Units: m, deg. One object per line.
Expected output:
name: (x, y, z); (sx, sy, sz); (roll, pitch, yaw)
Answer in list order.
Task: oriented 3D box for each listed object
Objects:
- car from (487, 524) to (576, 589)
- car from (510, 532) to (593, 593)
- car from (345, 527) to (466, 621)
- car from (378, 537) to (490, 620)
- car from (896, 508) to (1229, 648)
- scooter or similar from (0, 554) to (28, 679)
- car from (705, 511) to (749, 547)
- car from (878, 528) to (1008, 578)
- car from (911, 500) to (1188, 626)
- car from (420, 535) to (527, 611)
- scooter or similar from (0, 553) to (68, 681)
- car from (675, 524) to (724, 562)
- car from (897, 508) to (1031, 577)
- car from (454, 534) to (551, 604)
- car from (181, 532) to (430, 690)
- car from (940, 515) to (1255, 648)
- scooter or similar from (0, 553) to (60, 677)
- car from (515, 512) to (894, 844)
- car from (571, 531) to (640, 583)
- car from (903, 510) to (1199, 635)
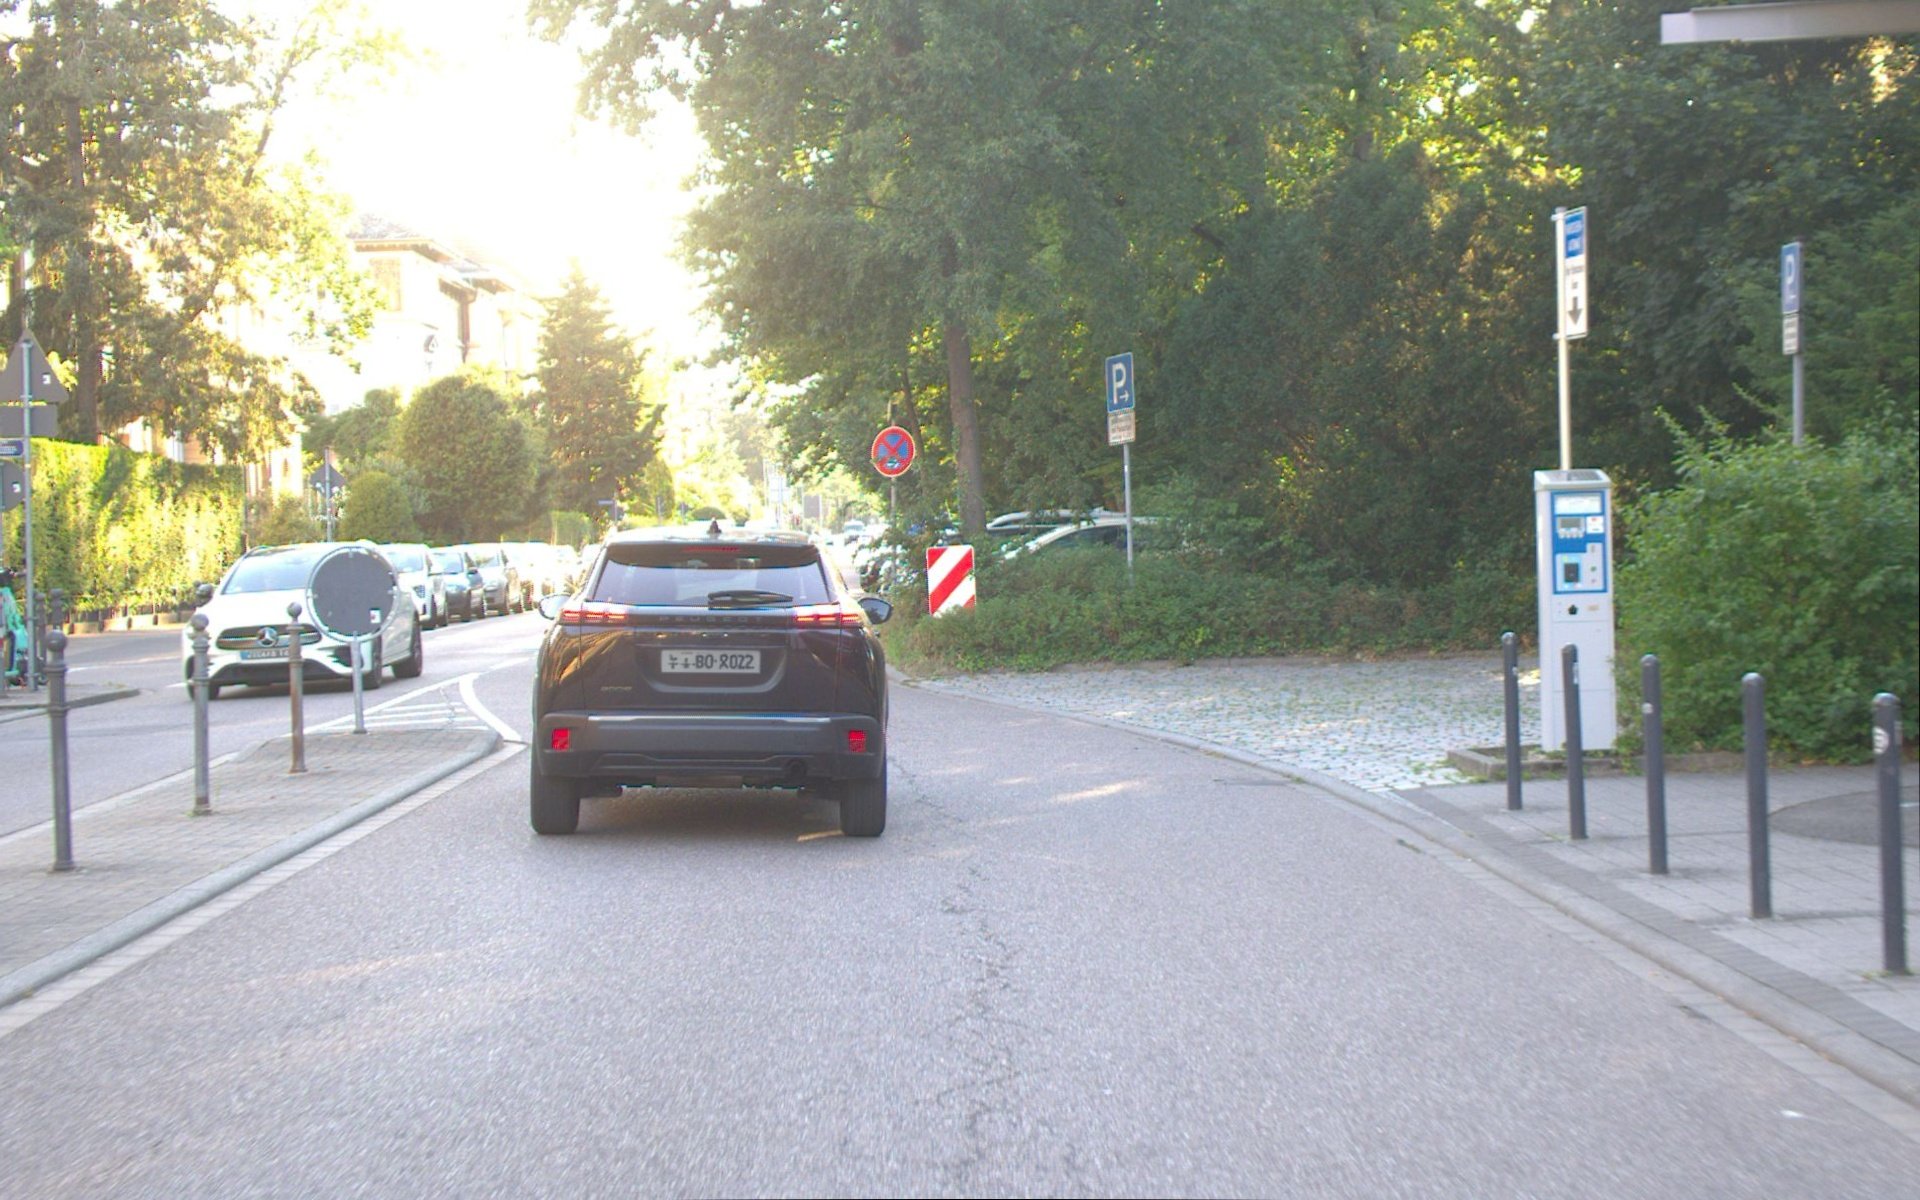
car: (-10.165, -1.048, 81.816); (1.613, 1.461, 4.036); (-2, 1, -1)
car: (-10.244, -0.958, 86.435); (1.613, 1.461, 4.036); (-2, 1, -1)
car: (-9.684, -0.466, 60.258); (1.613, 1.510, 3.712); (-3, 1, -3)
car: (-10.028, -0.431, 65.696); (1.613, 1.480, 3.742); (-2, 1, -1)
car: (1.227, -0.288, 42.478); (3.987, 1.549, 1.726); (-2, 2, -1)
scooter or similar: (-10.283, 0.180, 35.177); (1.340, 1.270, 0.432); (-2, 1, -36)
car: (-11.536, -3.524, 170.529); (1.993, 1.762, 4.000); (-1, 1, -2)
car: (-0.555, -1.506, 110.183); (3.986, 1.520, 1.758); (-1, 1, -6)
car: (1.409, -0.601, 55.655); (4.306, 1.798, 2.036); (-3, 1, -2)
car: (-9.938, -0.579, 70.471); (1.613, 1.461, 4.036); (-2, 1, -1)
scooter or similar: (-9.716, 0.175, 34.814); (0.431, 1.270, 1.341); (-1, 1, 35)
car: (-11.214, -2.461, 148.302); (1.899, 1.568, 4.000); (-1, 1, -1)
car: (0.109, -1.797, 107.417); (3.986, 2.082, 1.758); (-1, 1, -6)
car: (-10.110, -0.697, 76.244); (1.613, 1.461, 4.036); (-2, 1, -1)
car: (-6.616, 0.066, 35.192); (1.741, 1.453, 4.624); (-2, 1, -1)
car: (1.758, -0.255, 45.015); (3.987, 1.549, 1.726); (-2, 2, -1)
scooter or similar: (-10.133, 0.163, 35.866); (1.340, 1.270, 0.432); (-2, 1, -36)
car: (-1.247, 0.318, 18.354); (1.771, 1.563, 4.109); (0, 2, -1)
car: (-10.565, -1.292, 102.533); (1.752, 1.409, 3.765); (-3, 2, -3)
car: (1.226, -0.399, 47.579); (3.987, 1.549, 1.752); (-2, 2, -1)
